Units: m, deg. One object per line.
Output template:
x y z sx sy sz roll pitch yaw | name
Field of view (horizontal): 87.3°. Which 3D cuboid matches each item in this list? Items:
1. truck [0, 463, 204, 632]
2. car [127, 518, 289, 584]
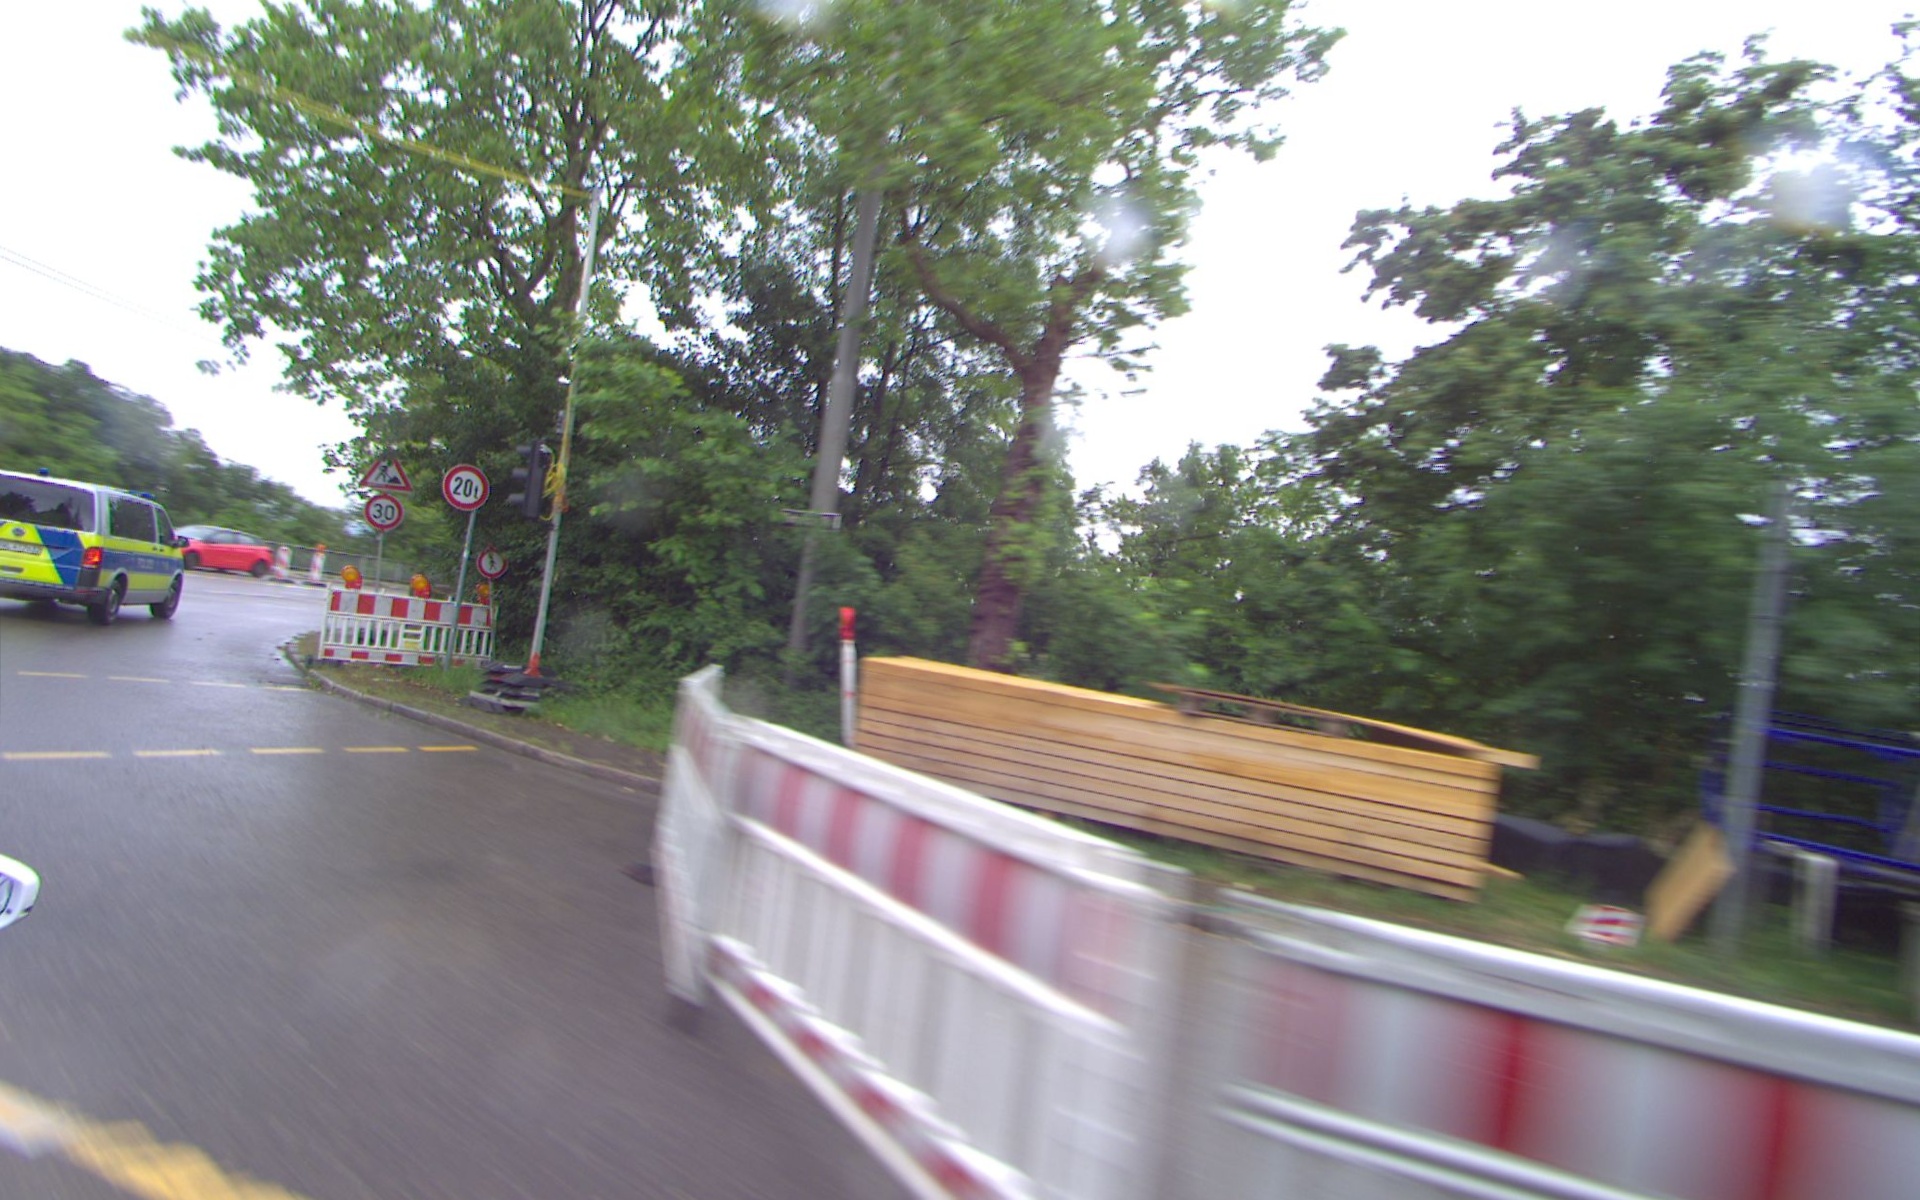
-13.544 -0.782 15.489 1.979 2.035 4.705 10 -3 -27 | truck
-24.960 -1.578 33.596 1.659 1.413 4.145 9 -3 11 | car
